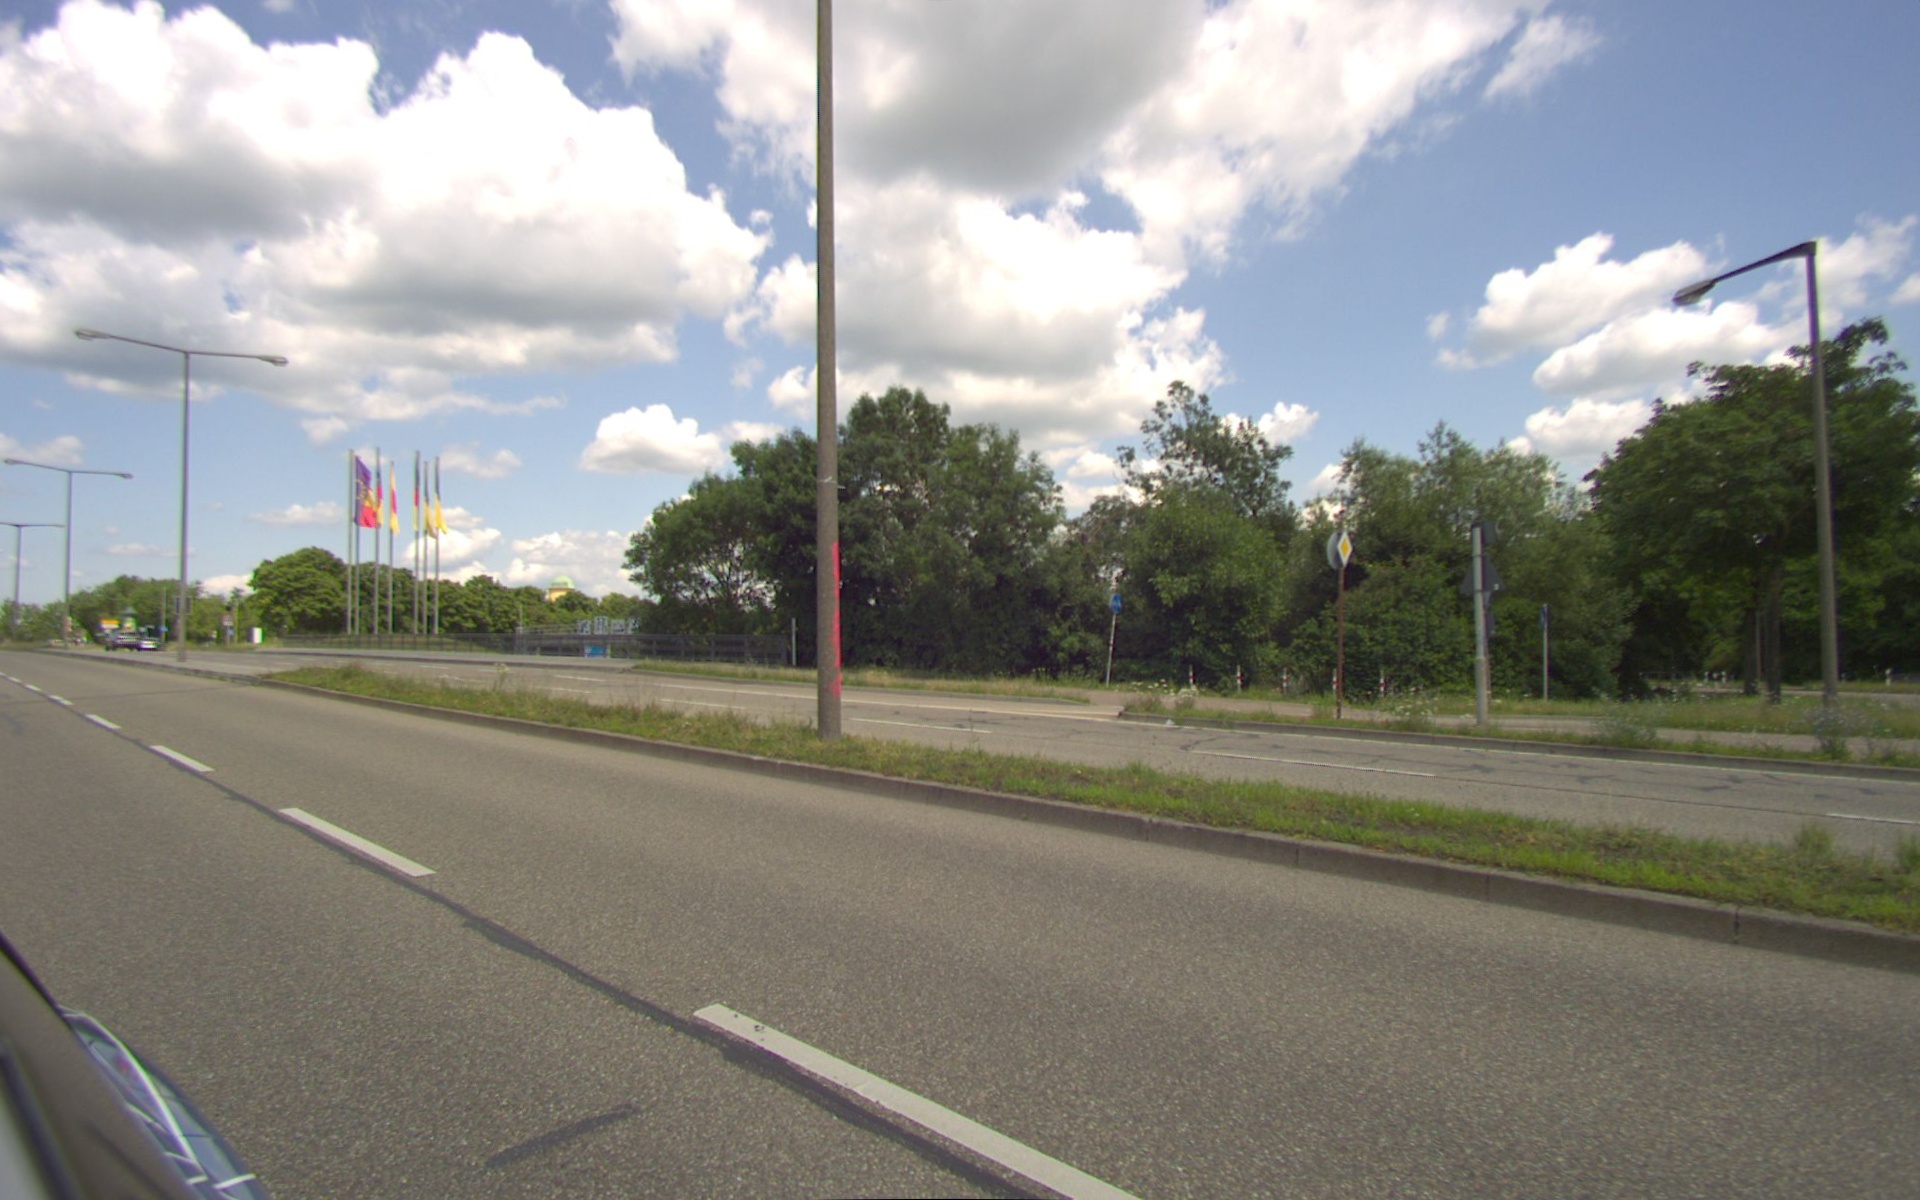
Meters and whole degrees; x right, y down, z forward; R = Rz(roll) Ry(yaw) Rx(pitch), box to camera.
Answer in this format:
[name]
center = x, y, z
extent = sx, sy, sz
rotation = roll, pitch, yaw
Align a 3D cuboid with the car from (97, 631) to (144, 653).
[car]
center = -69.416, 3.532, 83.653
extent = 4.546, 1.639, 2.067
rotation = -3, -8, 40
